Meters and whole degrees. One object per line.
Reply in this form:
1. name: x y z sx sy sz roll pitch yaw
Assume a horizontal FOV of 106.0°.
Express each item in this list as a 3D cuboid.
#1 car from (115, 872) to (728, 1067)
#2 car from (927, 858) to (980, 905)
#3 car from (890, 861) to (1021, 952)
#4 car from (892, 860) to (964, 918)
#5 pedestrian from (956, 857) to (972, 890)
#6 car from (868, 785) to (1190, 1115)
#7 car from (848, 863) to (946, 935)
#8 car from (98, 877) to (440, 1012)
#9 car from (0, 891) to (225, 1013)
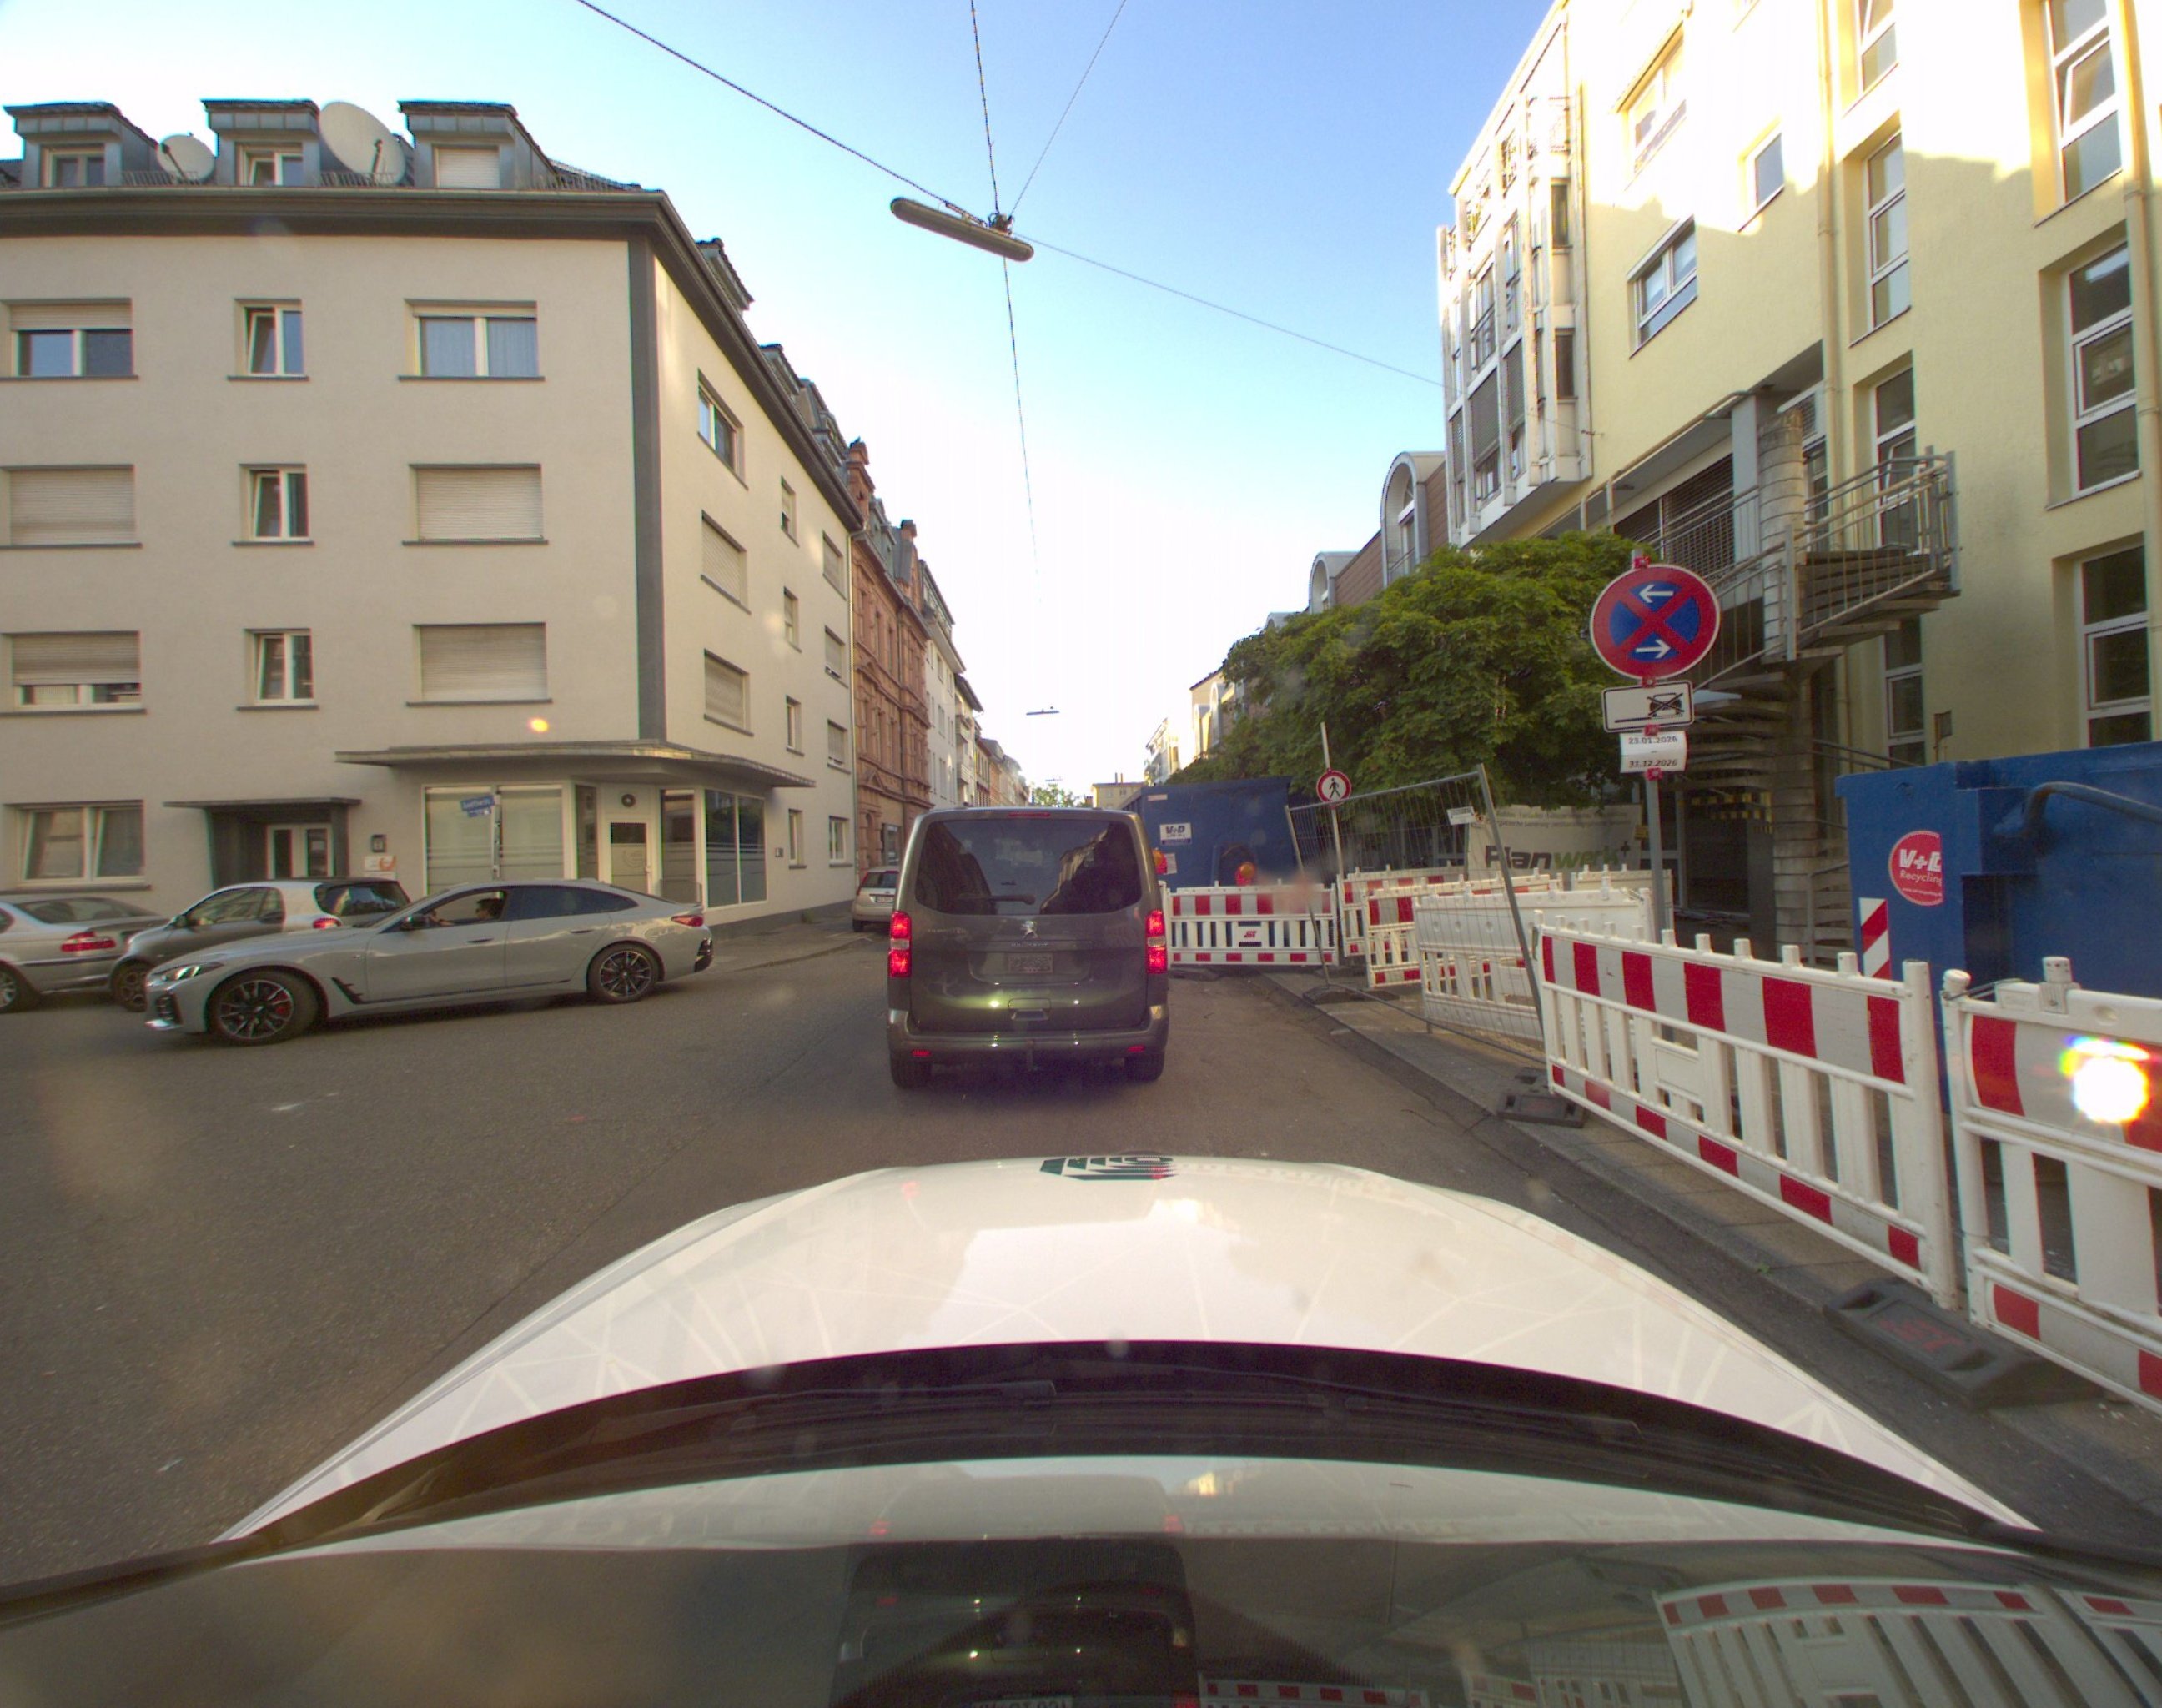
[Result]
1. car: -6.747 1.021 9.074 4.834 1.451 1.912 -2 0 -37
2. car: -4.873 1.042 31.446 1.663 1.666 3.086 3 -1 -4
3. car: -2.248 0.925 15.421 1.648 1.460 3.421 -3 -2 4
4. car: -4.507 0.997 24.352 1.653 1.525 3.412 3 -1 -4
5. pedestrian: -6.129 1.013 42.665 0.739 1.664 0.702 -2 0 -5
6. car: -0.448 0.577 6.910 1.862 1.886 4.228 -1 -1 -4
7. car: -4.197 0.992 19.033 1.653 1.460 3.412 3 -1 -4
8. car: -10.319 1.096 10.520 2.778 1.540 1.593 -1 0 -1
9. car: -14.239 1.261 10.671 4.193 1.403 1.602 -1 0 -3
